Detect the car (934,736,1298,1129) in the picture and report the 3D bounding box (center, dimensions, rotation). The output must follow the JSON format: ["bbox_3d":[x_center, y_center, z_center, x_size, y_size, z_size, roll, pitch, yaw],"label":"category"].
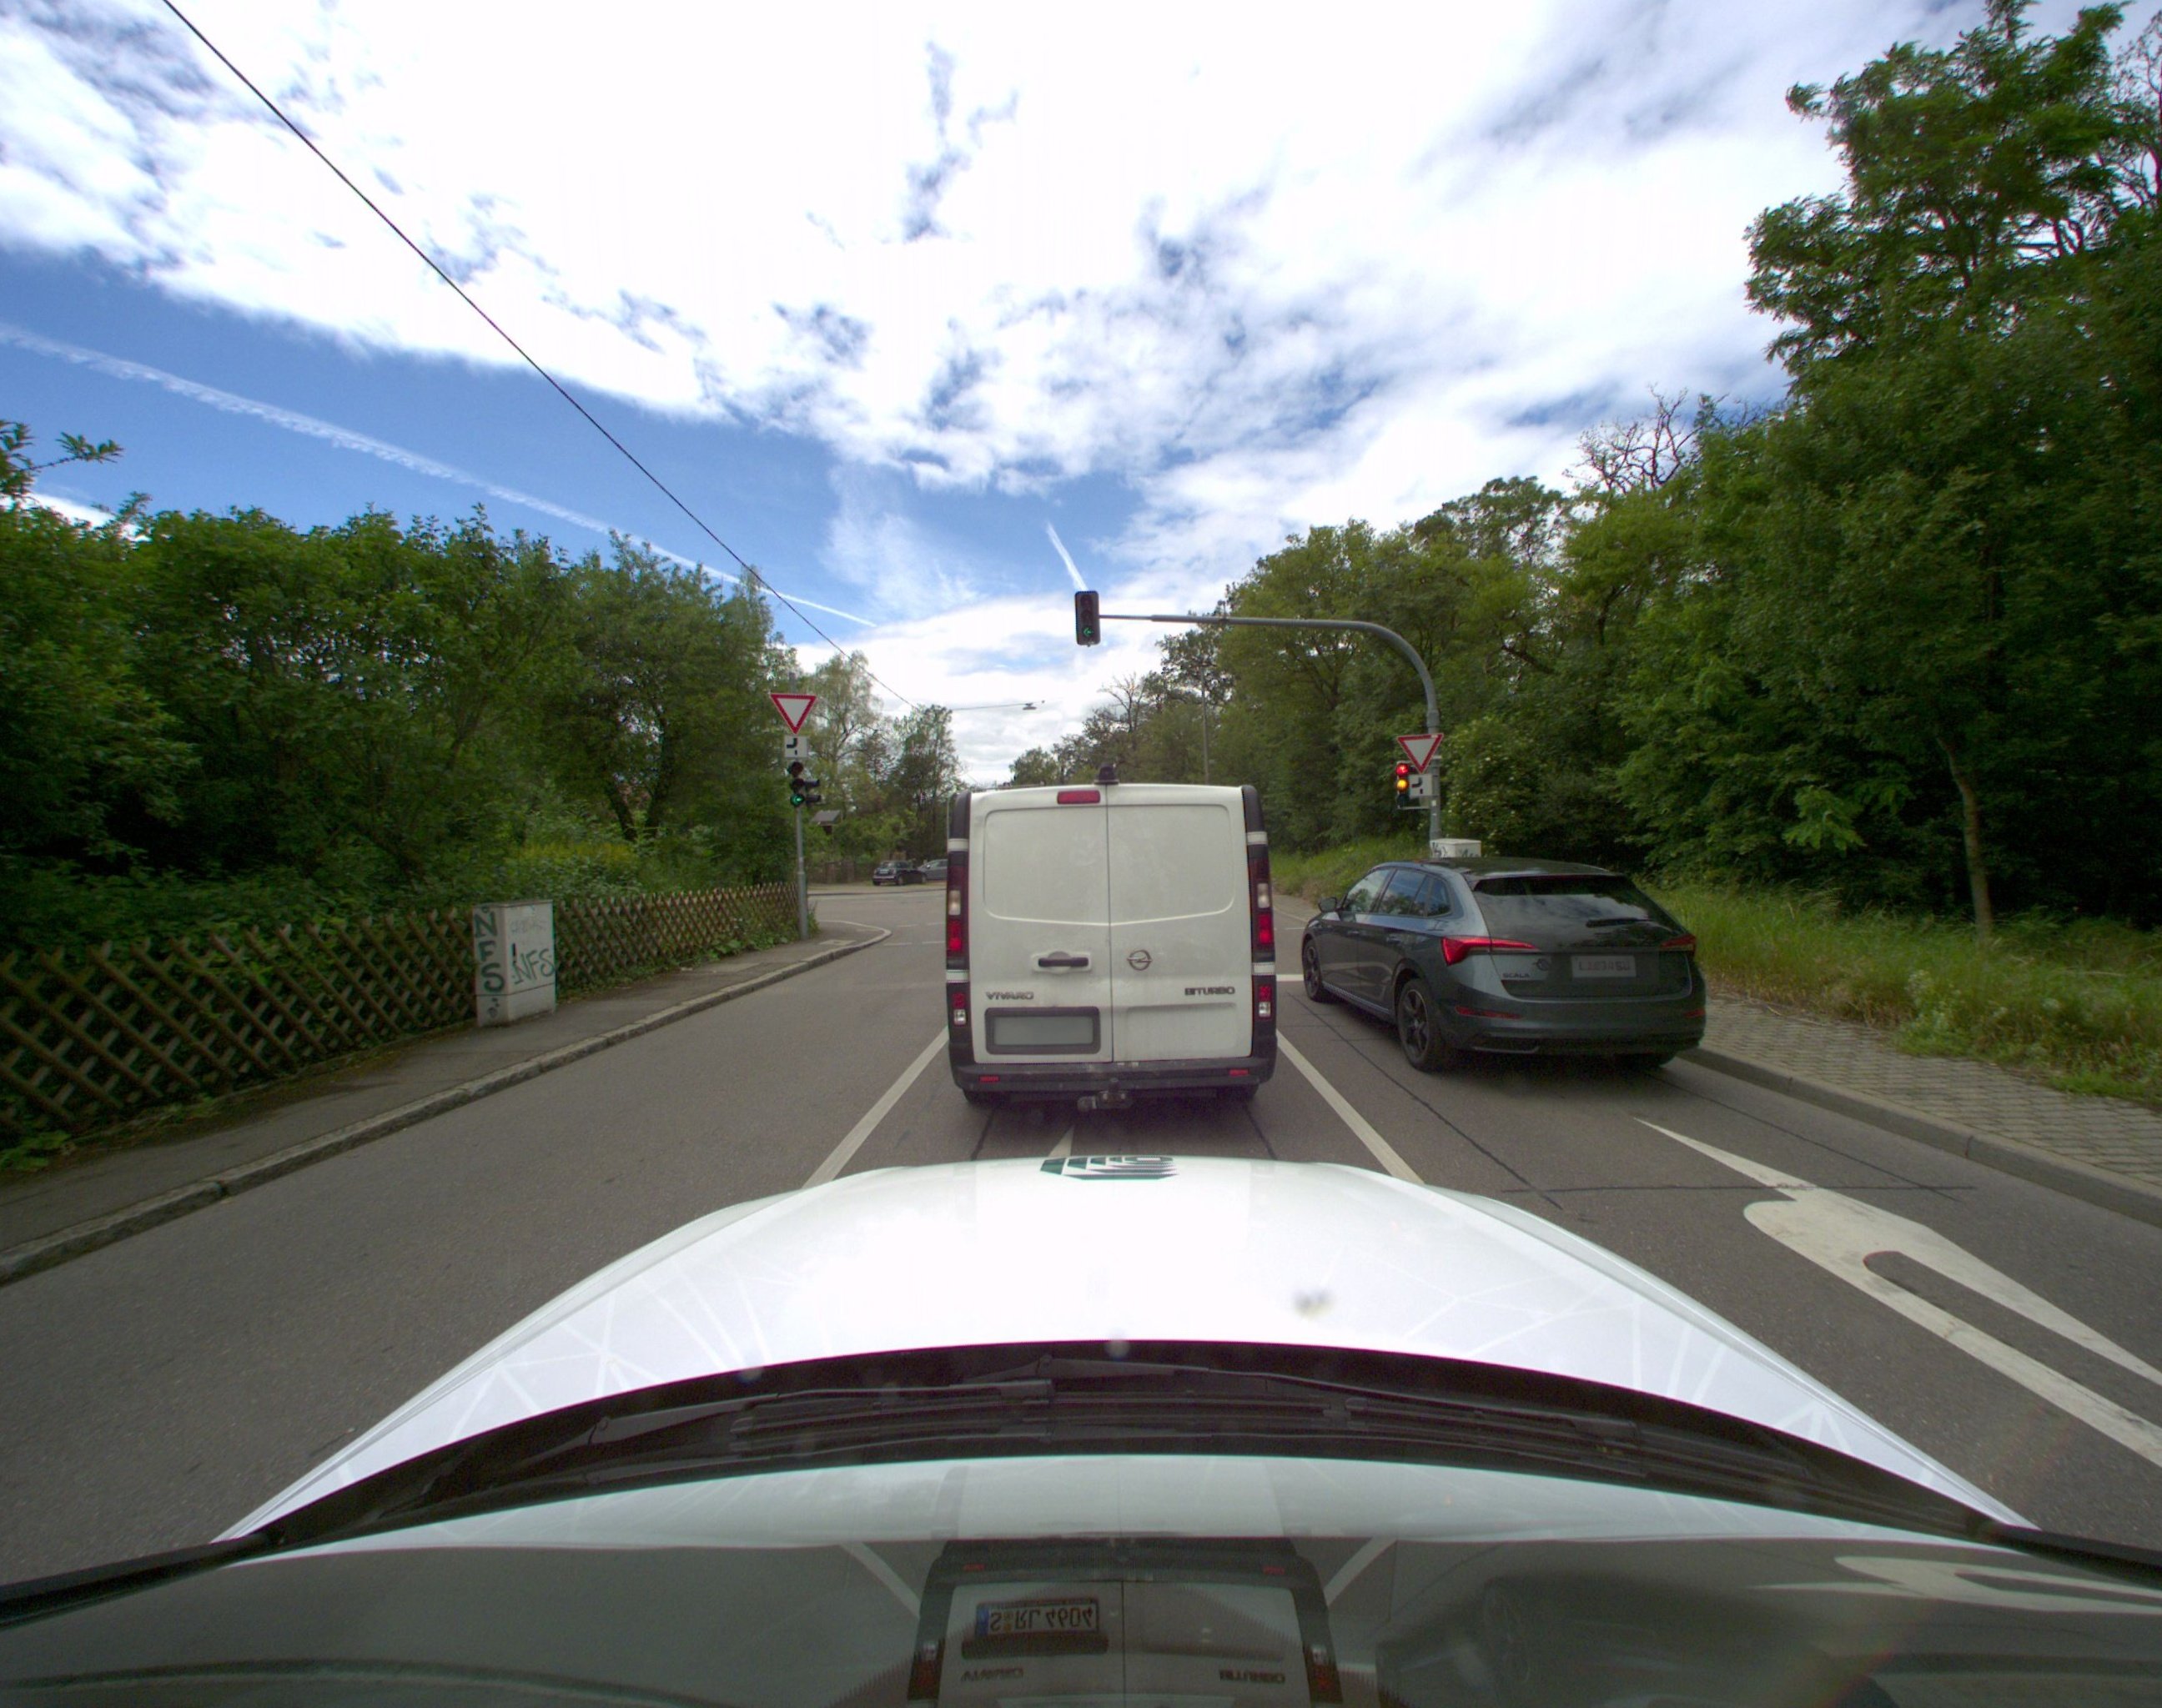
[{"bbox_3d":[0.180,0.406,6.581,1.910,2.053,4.613,0,0,0],"label":"car"}]

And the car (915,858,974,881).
[{"bbox_3d":[-9.979,1.110,59.428,4.094,1.553,1.845,-2,1,-16],"label":"car"}]

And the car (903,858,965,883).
[{"bbox_3d":[-10.171,1.104,56.359,4.094,1.553,1.845,-2,1,-16],"label":"car"}]

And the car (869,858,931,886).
[{"bbox_3d":[-10.223,0.982,46.217,1.683,1.449,3.562,1,0,22],"label":"car"}]

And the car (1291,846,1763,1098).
[{"bbox_3d":[3.162,0.694,6.829,1.786,1.450,4.000,-1,0,1],"label":"car"}]
